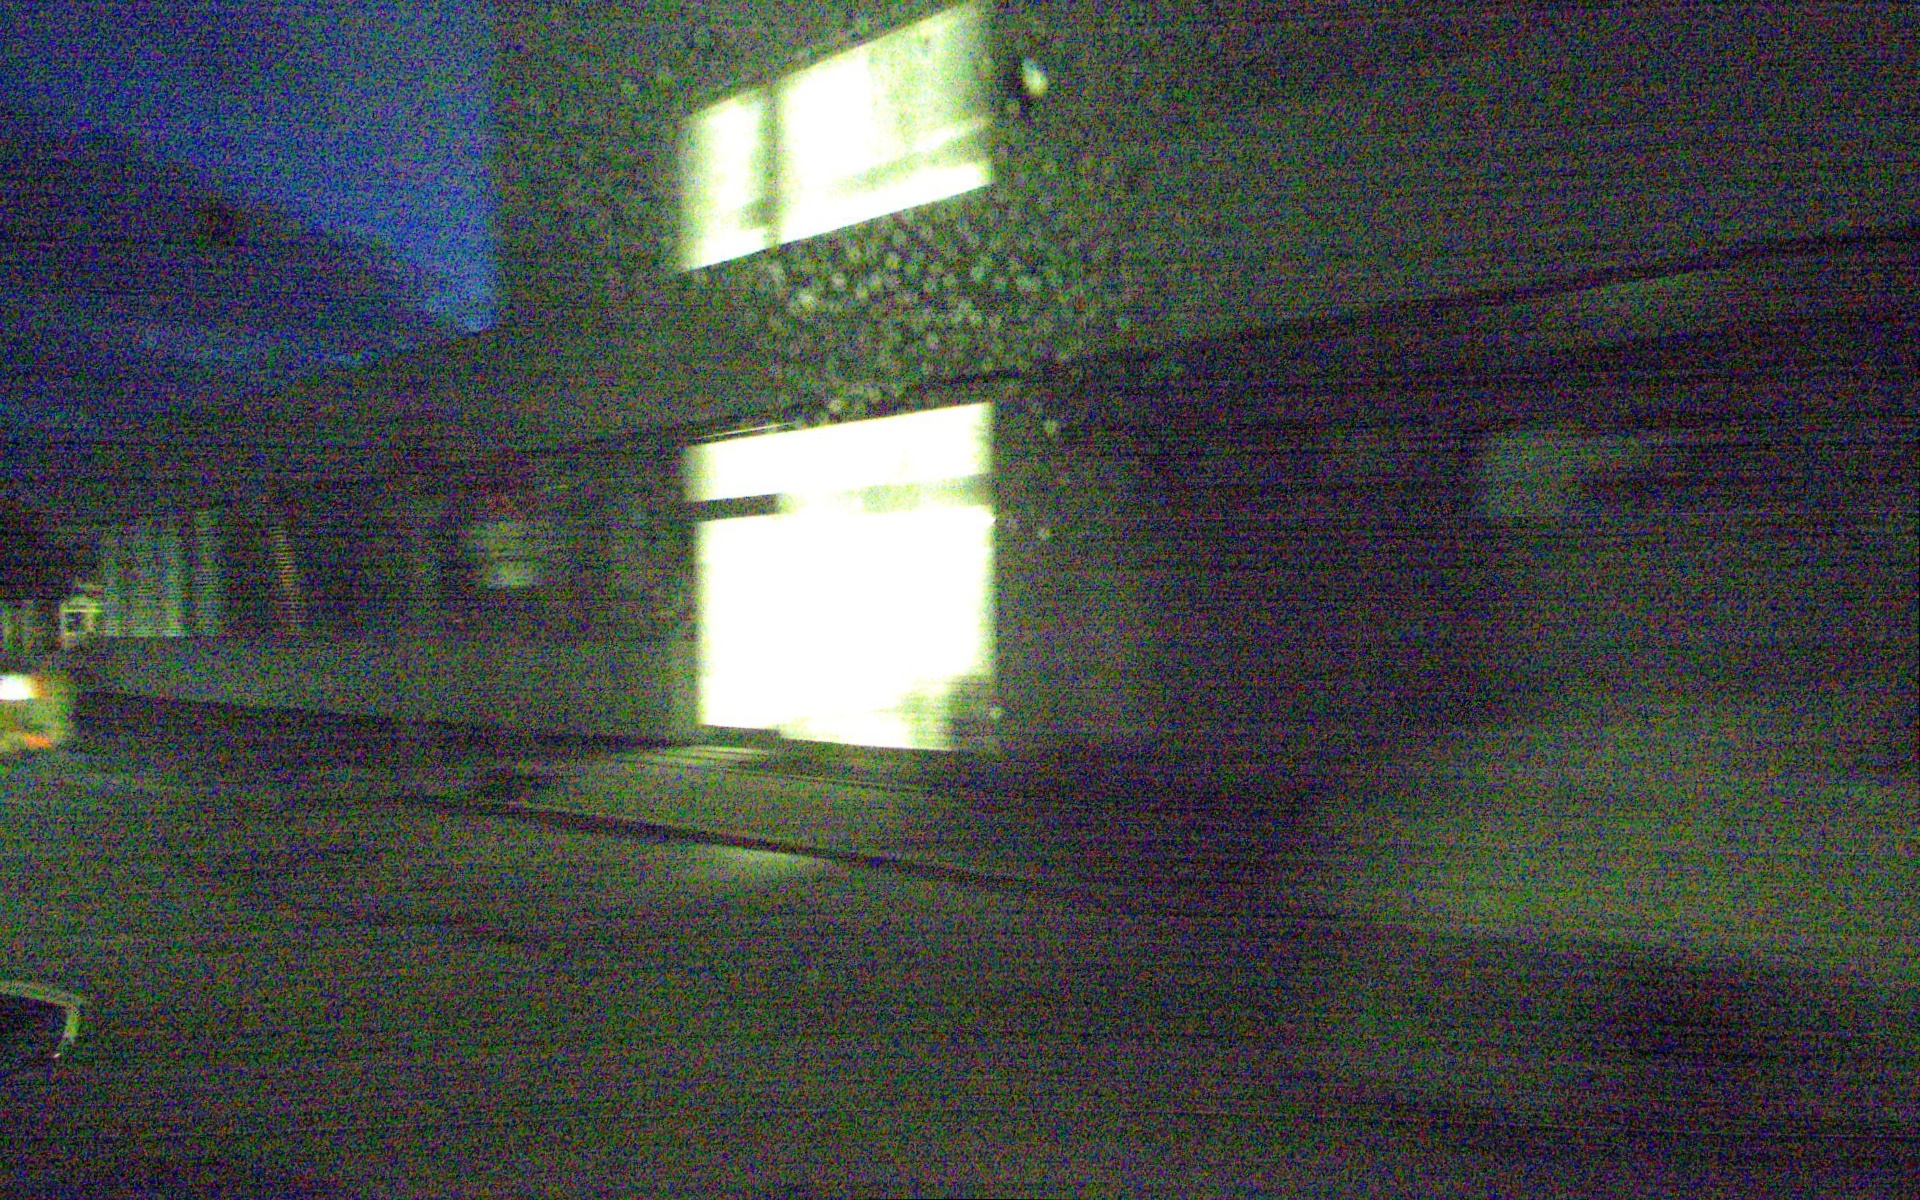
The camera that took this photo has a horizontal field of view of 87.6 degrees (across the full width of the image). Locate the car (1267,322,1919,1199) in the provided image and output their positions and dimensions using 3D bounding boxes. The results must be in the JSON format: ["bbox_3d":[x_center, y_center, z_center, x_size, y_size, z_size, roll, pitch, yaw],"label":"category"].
[{"bbox_3d":[3.367,0.467,2.131,4.844,2.040,1.988,-1,0,34],"label":"car"}]
